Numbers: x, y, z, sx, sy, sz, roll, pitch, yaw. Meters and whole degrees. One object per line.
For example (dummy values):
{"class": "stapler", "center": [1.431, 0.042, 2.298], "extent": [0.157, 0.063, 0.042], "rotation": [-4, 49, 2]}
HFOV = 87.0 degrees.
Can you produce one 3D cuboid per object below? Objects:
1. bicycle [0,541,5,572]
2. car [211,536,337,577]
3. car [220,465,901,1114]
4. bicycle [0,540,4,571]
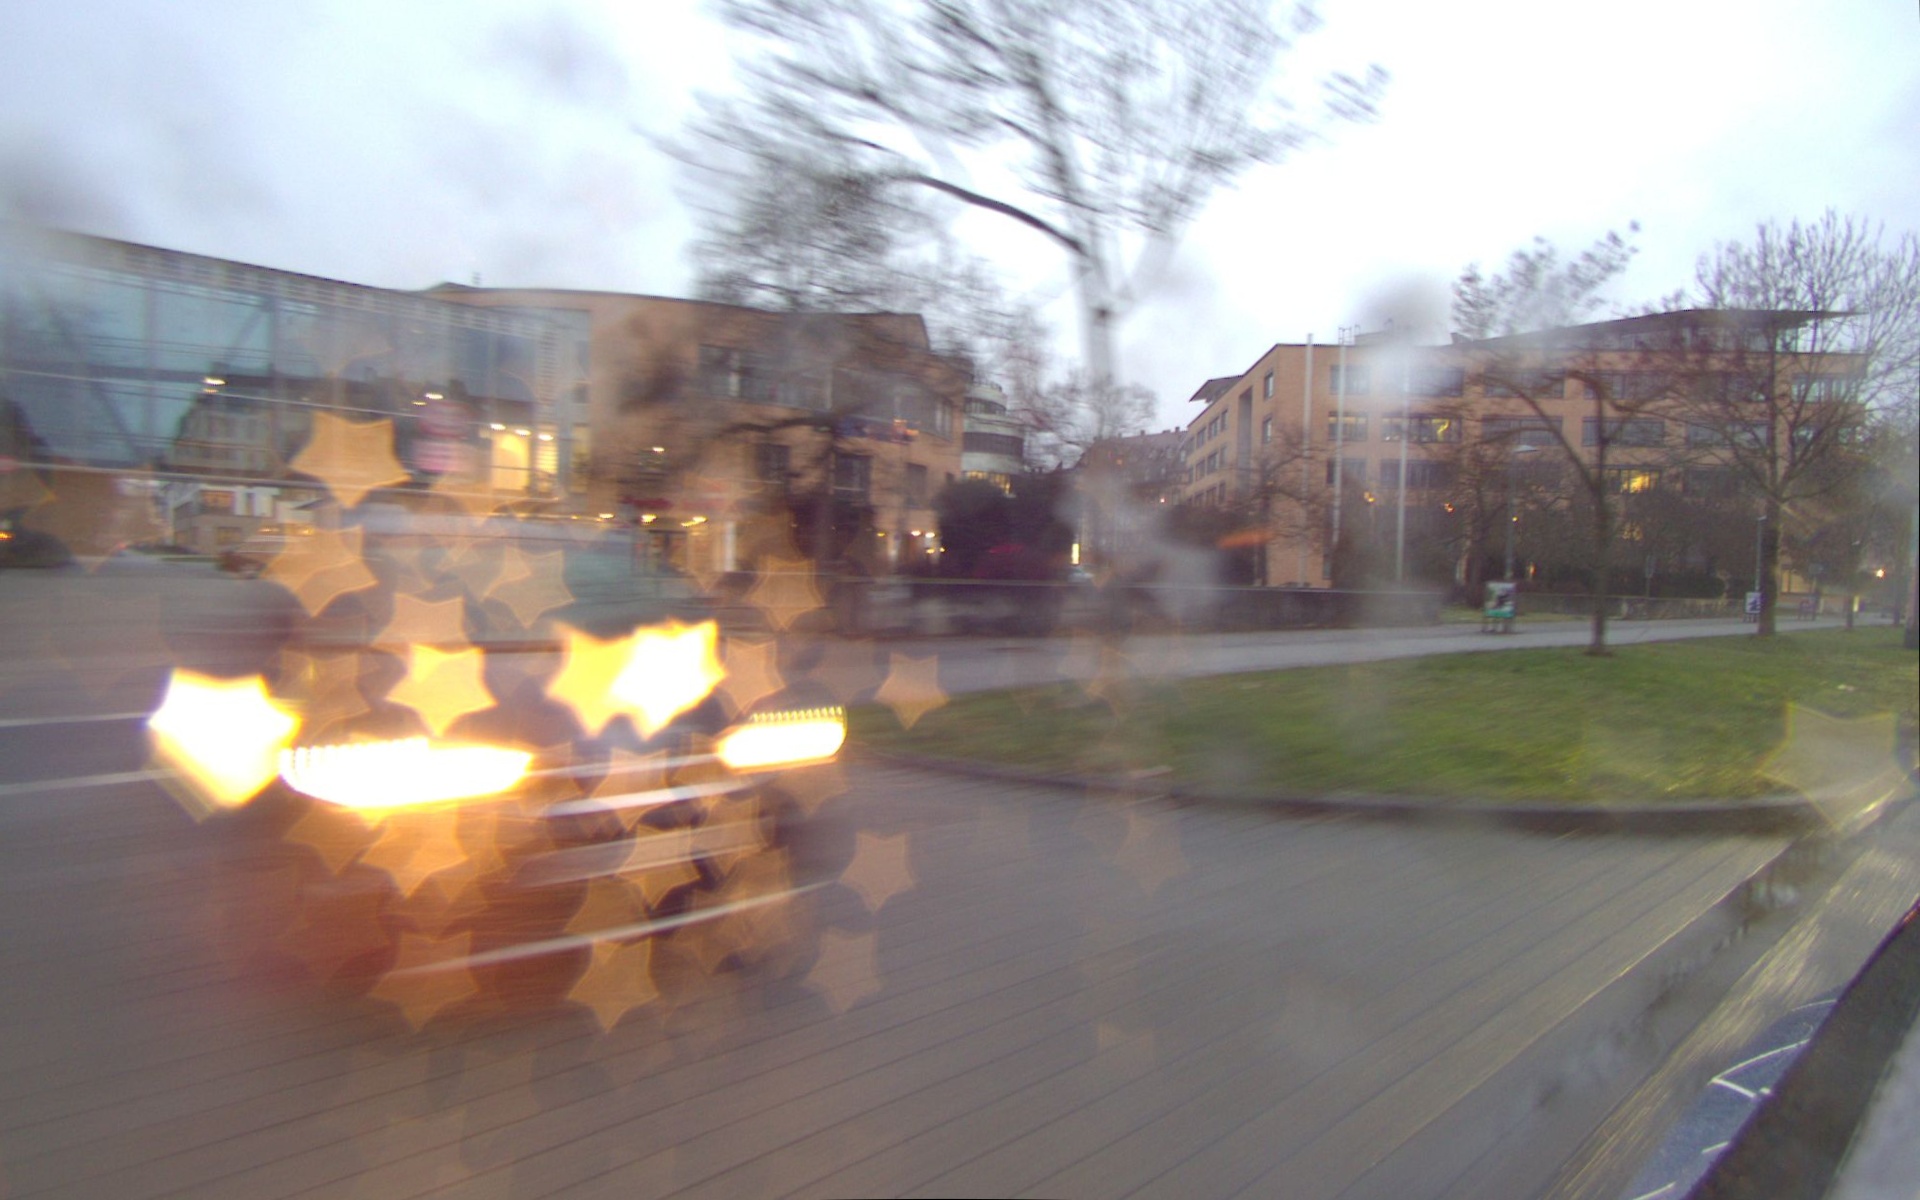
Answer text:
{"class": "bicycle", "center": [-35.430, -1.565, 36.301], "extent": [1.674, 1.088, 0.492], "rotation": [-1, 0, -42]}
{"class": "car", "center": [-26.149, -1.661, 38.742], "extent": [3.921, 1.415, 2.002], "rotation": [1, 3, -32]}
{"class": "car", "center": [-2.142, 0.333, 4.536], "extent": [1.711, 1.574, 3.998], "rotation": [0, 4, -39]}
{"class": "bicycle", "center": [-34.488, -1.559, 35.256], "extent": [1.674, 1.088, 0.492], "rotation": [-1, 0, -42]}
